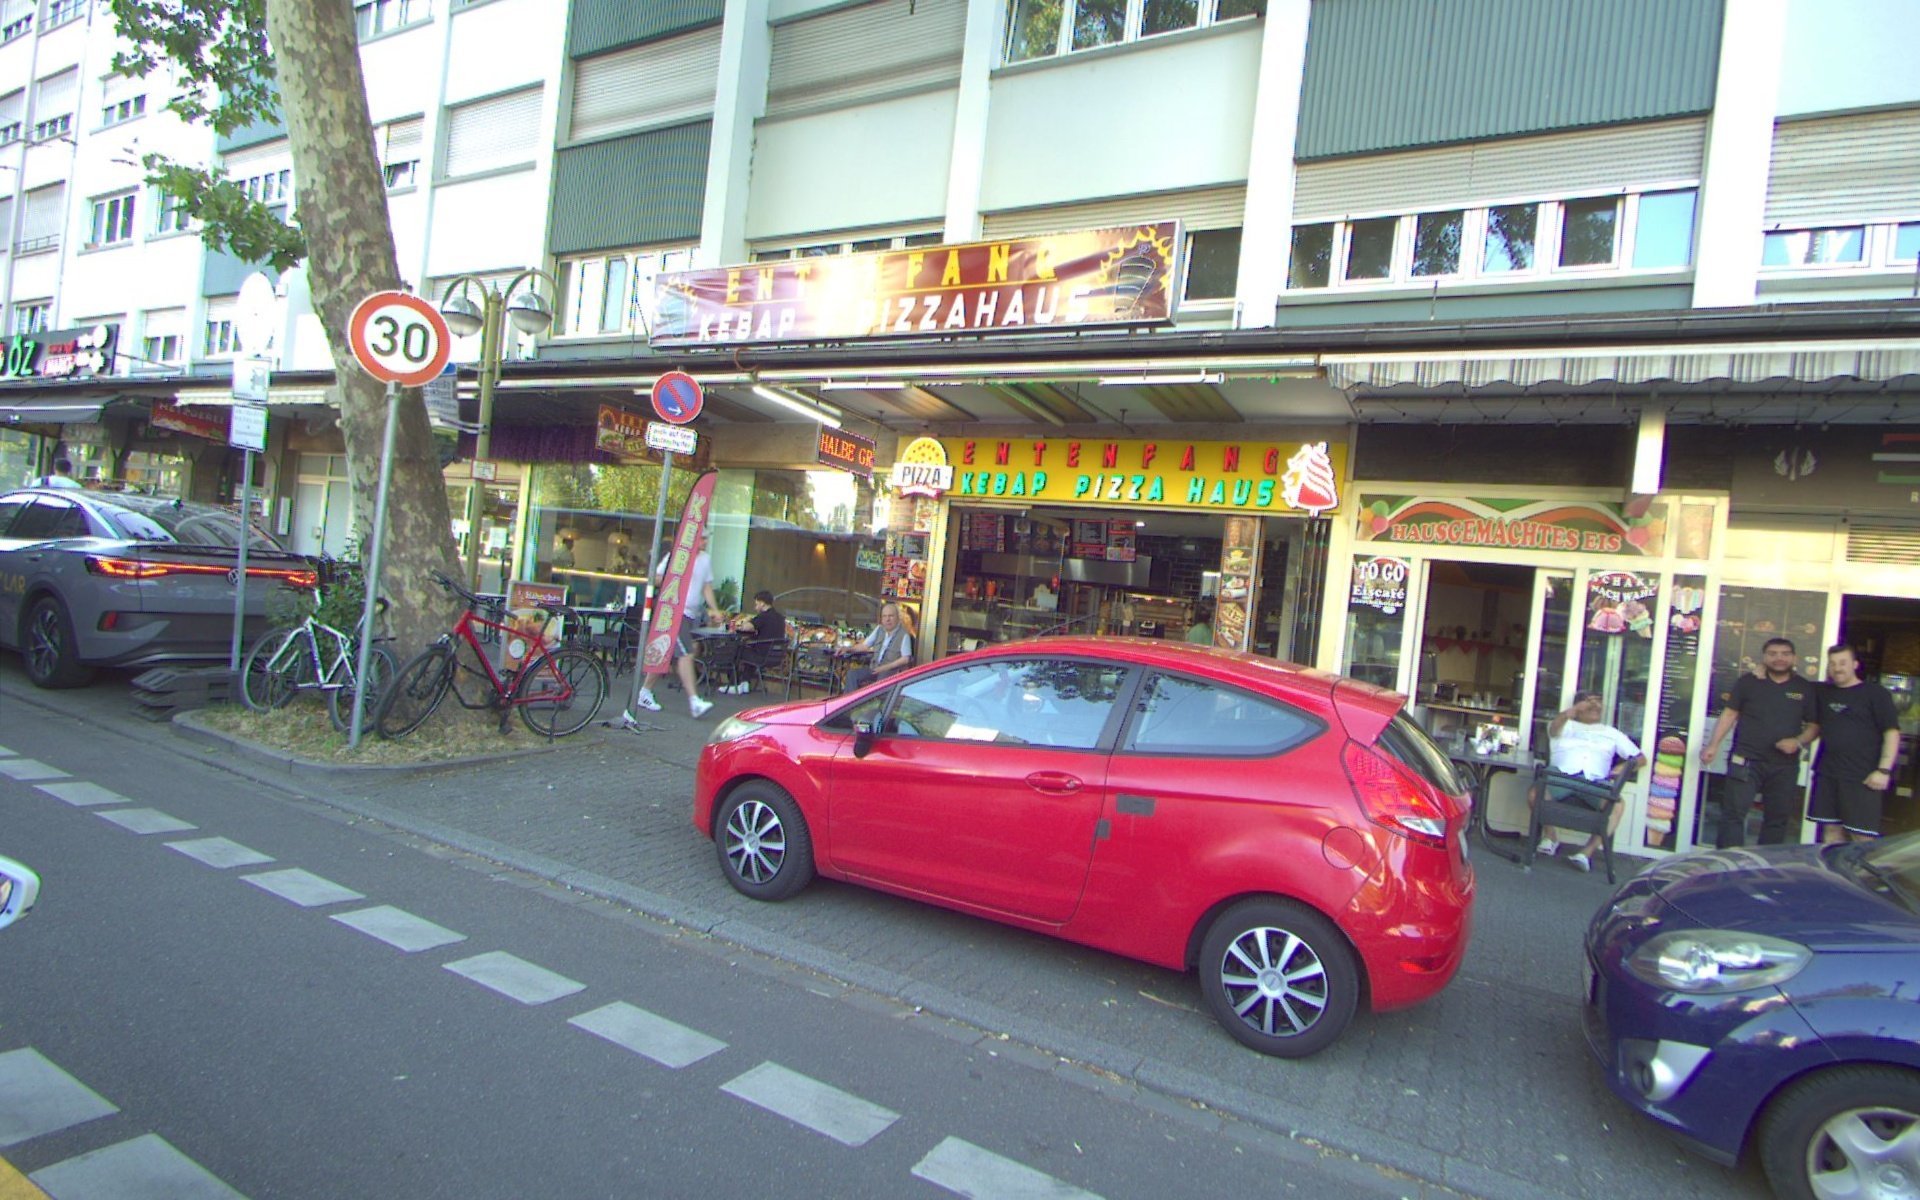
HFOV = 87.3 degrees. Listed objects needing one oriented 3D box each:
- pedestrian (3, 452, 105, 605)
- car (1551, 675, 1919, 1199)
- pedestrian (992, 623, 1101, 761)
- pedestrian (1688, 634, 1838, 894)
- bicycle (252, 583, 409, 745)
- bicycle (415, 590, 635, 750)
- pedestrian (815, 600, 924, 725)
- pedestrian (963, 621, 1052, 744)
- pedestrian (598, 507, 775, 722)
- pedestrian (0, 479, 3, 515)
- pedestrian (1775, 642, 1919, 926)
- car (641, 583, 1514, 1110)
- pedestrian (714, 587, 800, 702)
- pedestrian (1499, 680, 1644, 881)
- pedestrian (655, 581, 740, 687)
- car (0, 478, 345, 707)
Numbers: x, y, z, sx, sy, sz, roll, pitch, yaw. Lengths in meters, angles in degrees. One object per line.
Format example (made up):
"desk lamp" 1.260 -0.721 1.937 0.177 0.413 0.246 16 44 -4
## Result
"pedestrian" -12.788 -0.988 14.209 0.701 2.040 0.770 6 2 25
"car" 3.876 1.222 2.904 3.543 1.485 1.620 7 2 29
"pedestrian" 0.809 0.837 9.430 0.740 1.172 0.593 6 3 33
"pedestrian" 5.869 1.163 7.394 0.587 1.759 0.587 8 3 31
"bicycle" -4.440 0.425 7.080 1.110 0.941 0.295 9 6 21
"bicycle" -3.228 0.505 7.558 0.291 1.082 1.455 12 7 42
"pedestrian" -0.974 0.664 10.866 0.861 1.237 0.688 2 3 -44
"pedestrian" 0.497 0.827 10.382 0.585 1.172 0.671 6 3 31
"pedestrian" -2.664 0.143 9.850 1.104 1.913 1.023 6 0 31
"pedestrian" -21.373 -1.661 21.821 0.685 2.038 0.613 7 1 31
"pedestrian" 6.219 1.217 6.947 0.636 1.783 0.610 8 3 31
"car" 0.481 0.845 4.994 3.780 1.448 1.668 7 2 27
"pedestrian" -2.386 0.512 11.798 0.701 1.260 0.614 7 3 41
"pedestrian" 4.641 1.297 7.622 0.767 1.249 1.202 6 3 33
"pedestrian" -3.231 0.410 12.361 0.694 1.220 0.675 7 3 42
"car" -7.810 -0.200 9.181 4.223 1.619 1.742 7 2 27
